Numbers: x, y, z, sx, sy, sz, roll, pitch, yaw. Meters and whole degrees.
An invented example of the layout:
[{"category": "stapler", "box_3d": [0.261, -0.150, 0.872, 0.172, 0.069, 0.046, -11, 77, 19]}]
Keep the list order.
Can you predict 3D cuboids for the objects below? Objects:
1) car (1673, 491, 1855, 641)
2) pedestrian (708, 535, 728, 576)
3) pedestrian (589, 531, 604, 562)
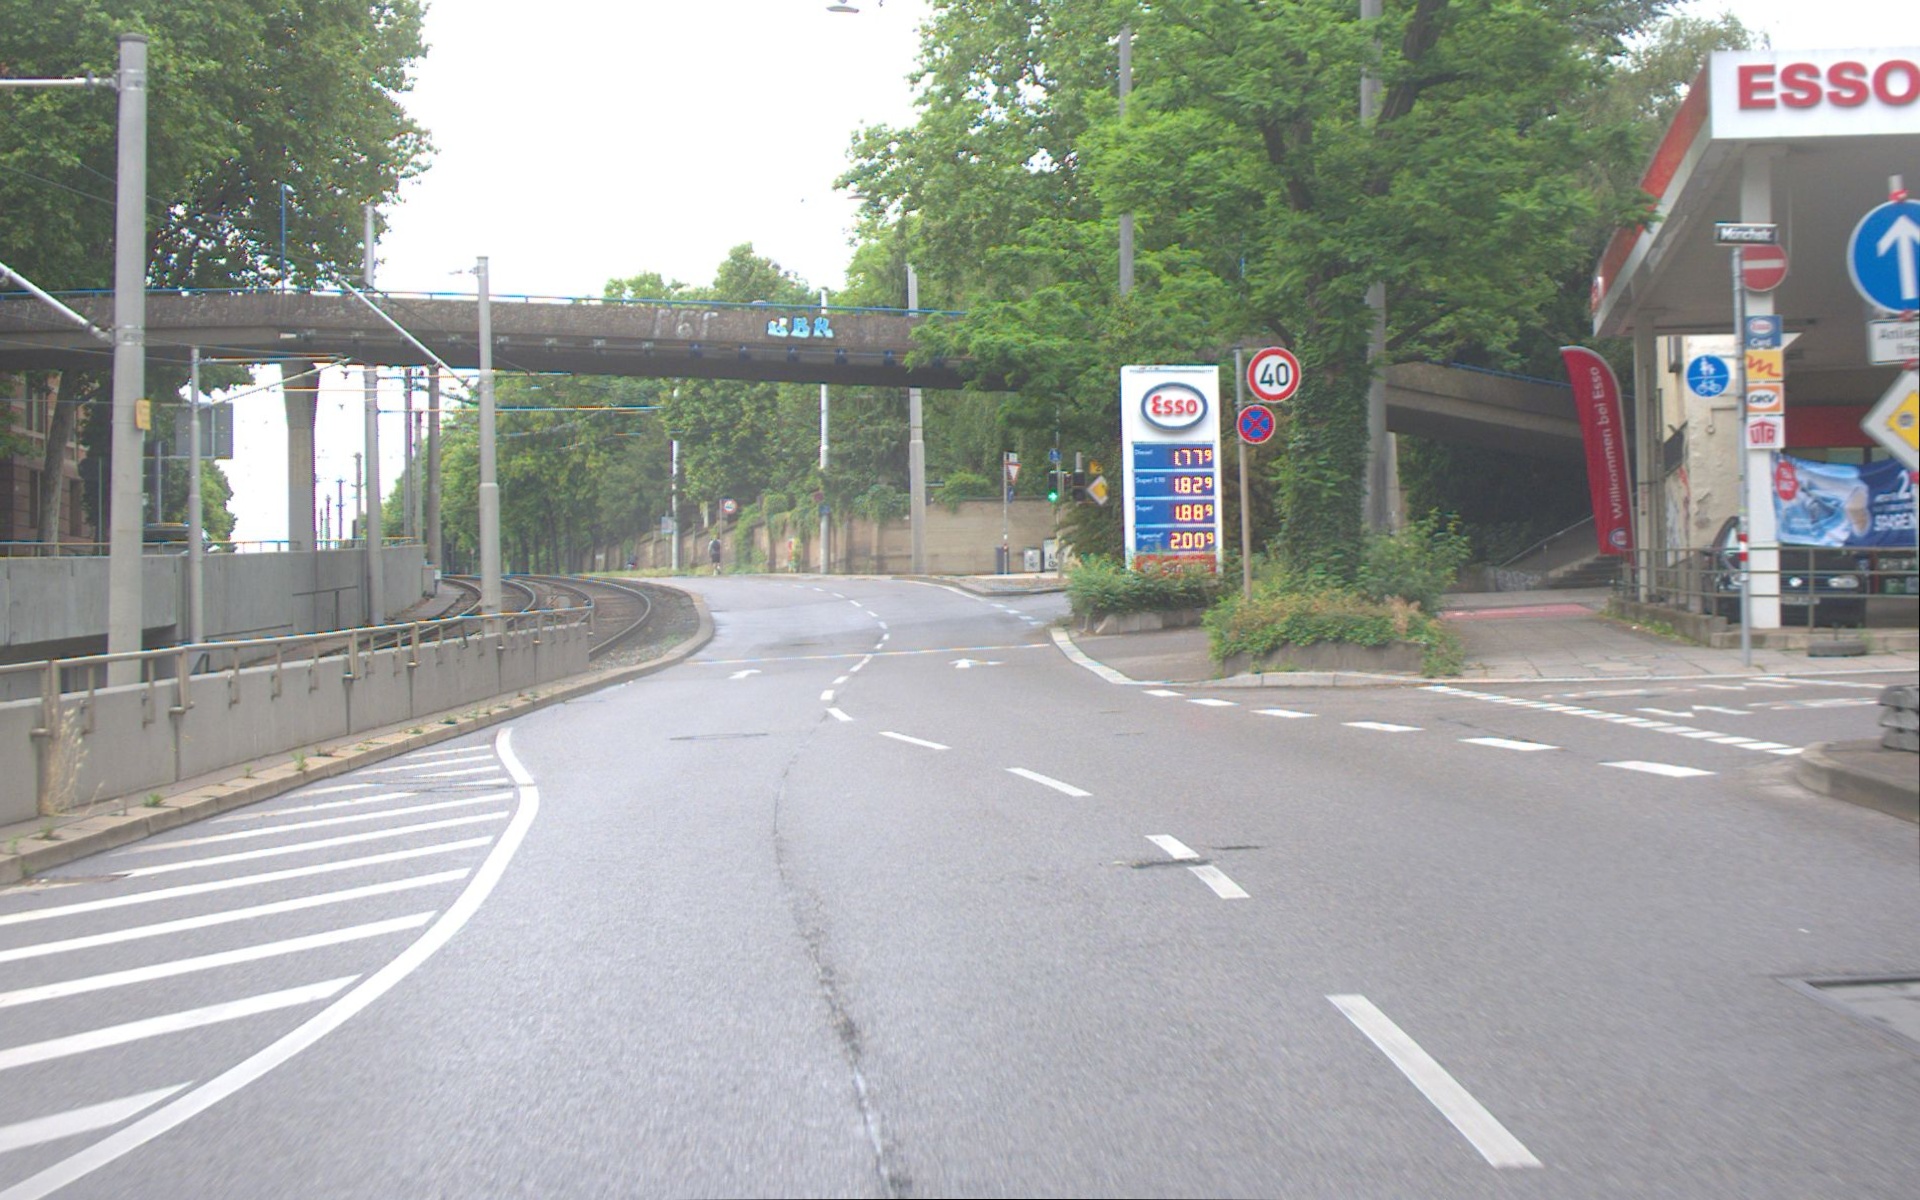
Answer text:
[{"category": "car", "box_3d": [9.408, -0.390, 40.472, 1.773, 1.618, 3.865, -2, 0, 10]}, {"category": "pedestrian", "box_3d": [-10.753, -1.974, 152.746, 0.719, 1.844, 0.783, 1, 0, -12]}, {"category": "pedestrian", "box_3d": [-19.643, -2.887, 185.779, 0.719, 1.681, 0.729, 1, 0, -12]}]
